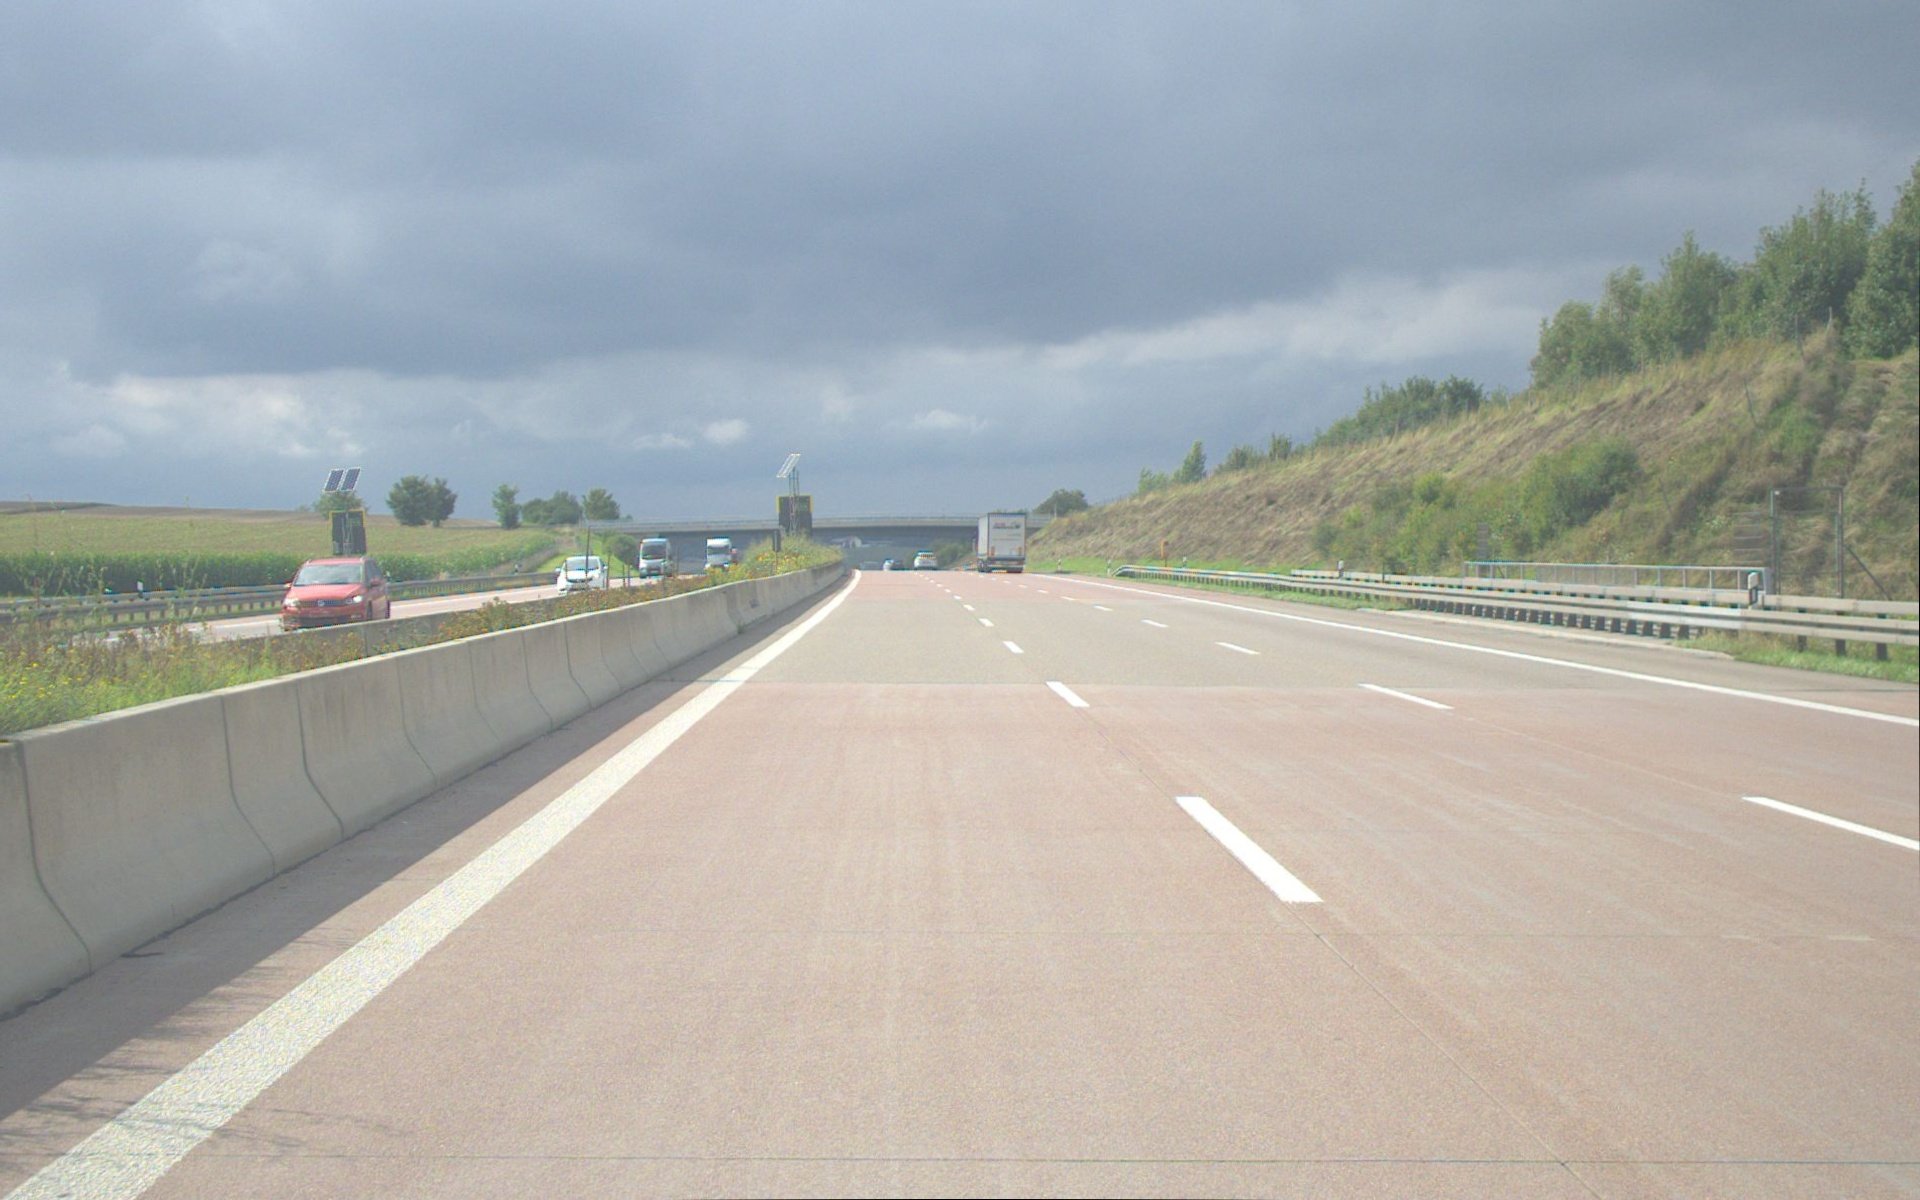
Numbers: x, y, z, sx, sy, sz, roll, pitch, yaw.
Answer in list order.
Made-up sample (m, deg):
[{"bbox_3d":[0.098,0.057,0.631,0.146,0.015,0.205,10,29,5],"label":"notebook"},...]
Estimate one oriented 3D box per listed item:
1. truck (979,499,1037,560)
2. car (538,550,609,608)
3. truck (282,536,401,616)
[{"bbox_3d":[3.184,-4.810,232.854,3.617,3.932,11.175,1,1,0],"label":"truck"},{"bbox_3d":[-14.448,-0.816,128.776,1.993,2.063,4.711,-1,1,1],"label":"car"},{"bbox_3d":[-13.265,-0.547,73.946,1.707,1.568,4.982,-2,1,-1],"label":"truck"}]
